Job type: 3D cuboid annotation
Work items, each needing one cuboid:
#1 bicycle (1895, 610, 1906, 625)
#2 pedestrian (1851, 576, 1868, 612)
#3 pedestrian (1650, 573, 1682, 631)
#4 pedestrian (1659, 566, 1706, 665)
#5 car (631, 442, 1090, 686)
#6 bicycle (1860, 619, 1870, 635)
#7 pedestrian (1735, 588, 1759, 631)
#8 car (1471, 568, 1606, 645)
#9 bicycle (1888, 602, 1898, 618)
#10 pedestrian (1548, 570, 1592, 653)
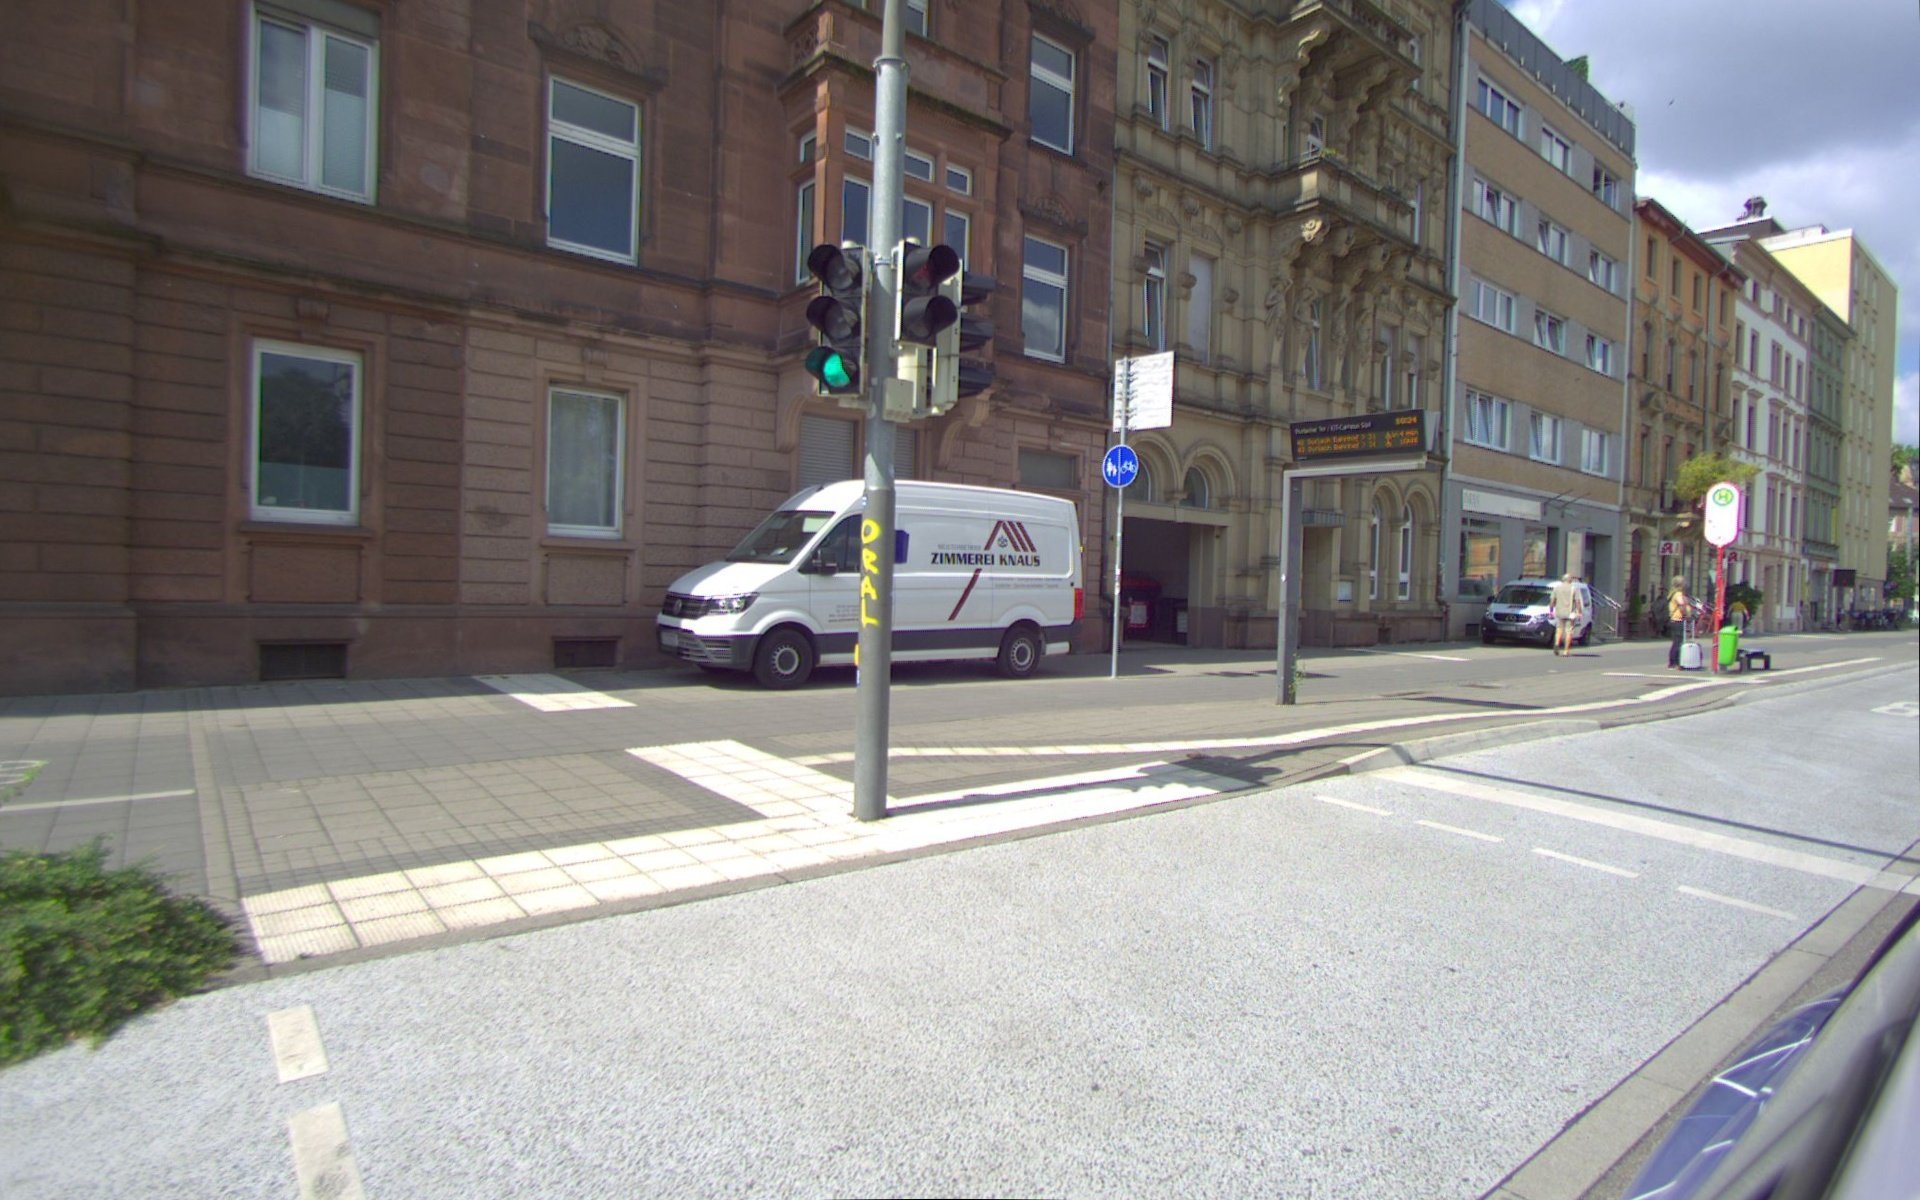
[{"bbox_3d":[58.877,1.093,63.364,1.437,0.934,0.293,1,1,-39],"label":"bicycle"},{"bbox_3d":[52.405,-0.363,58.951,0.452,2.039,0.603,4,-1,-38],"label":"pedestrian"},{"bbox_3d":[26.635,0.073,38.178,0.772,2.126,0.723,4,-1,-38],"label":"pedestrian"},{"bbox_3d":[14.434,0.297,20.230,0.660,1.927,0.686,2,1,33],"label":"pedestrian"},{"bbox_3d":[-1.064,-0.367,13.226,5.782,2.557,1.998,1,1,-39],"label":"car"},{"bbox_3d":[54.840,1.619,61.311,1.439,0.934,0.293,2,0,-42],"label":"bicycle"},{"bbox_3d":[31.921,0.385,41.037,0.601,1.719,0.580,4,-1,-38],"label":"pedestrian"},{"bbox_3d":[15.814,0.127,27.553,4.675,1.885,1.995,0,2,-45],"label":"car"},{"bbox_3d":[57.350,0.601,62.200,1.438,0.934,0.293,3,-1,-42],"label":"bicycle"},{"bbox_3d":[14.036,0.245,23.289,0.683,1.859,0.663,1,1,-45],"label":"pedestrian"}]
